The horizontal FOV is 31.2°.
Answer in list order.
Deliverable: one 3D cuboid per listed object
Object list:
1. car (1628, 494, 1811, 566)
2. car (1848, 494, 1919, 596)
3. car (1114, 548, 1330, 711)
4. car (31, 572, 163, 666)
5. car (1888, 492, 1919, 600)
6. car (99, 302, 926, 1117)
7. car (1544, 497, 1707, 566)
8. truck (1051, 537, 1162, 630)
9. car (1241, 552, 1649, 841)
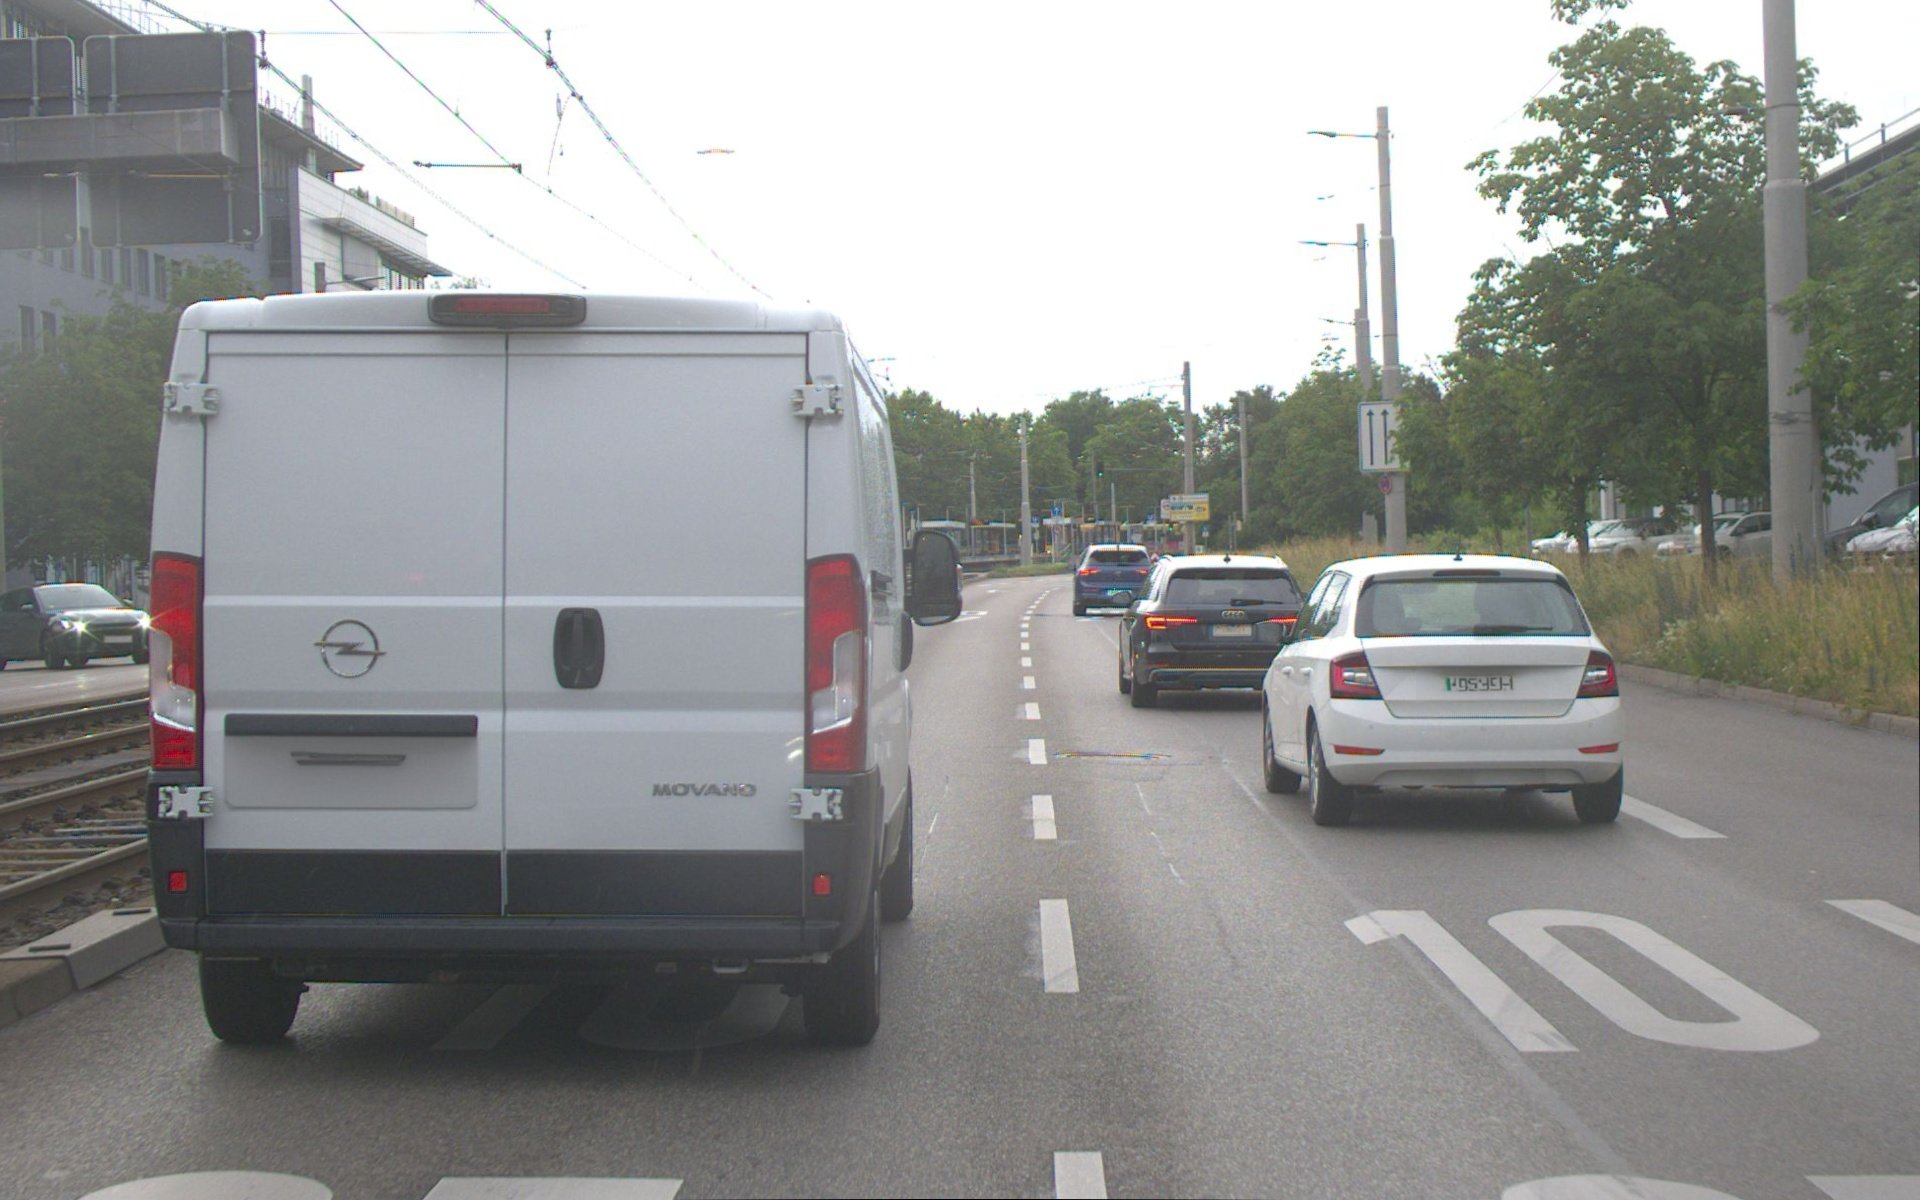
[{"bbox_3d":[17.947,-1.662,81.191,4.087,1.460,1.748,-3,0,-31],"label":"car"},{"bbox_3d":[16.487,-0.971,54.921,4.138,1.556,1.870,-4,1,-25],"label":"car"},{"bbox_3d":[2.450,0.238,32.968,1.789,1.444,4.000,0,1,0],"label":"car"},{"bbox_3d":[-14.604,0.298,58.334,1.802,1.424,4.237,-3,1,-10],"label":"car"},{"bbox_3d":[16.342,-0.931,52.001,4.138,1.599,1.827,-4,1,-23],"label":"car"},{"bbox_3d":[-1.237,0.239,11.808,2.090,2.189,5.061,0,1,1],"label":"car"},{"bbox_3d":[17.534,-1.803,90.564,4.087,1.563,1.799,-3,0,-35],"label":"car"},{"bbox_3d":[2.970,-0.375,70.539,1.993,1.784,4.414,-2,1,-1],"label":"truck"},{"bbox_3d":[2.669,0.476,19.675,1.746,1.452,3.671,1,1,-1],"label":"car"}]
